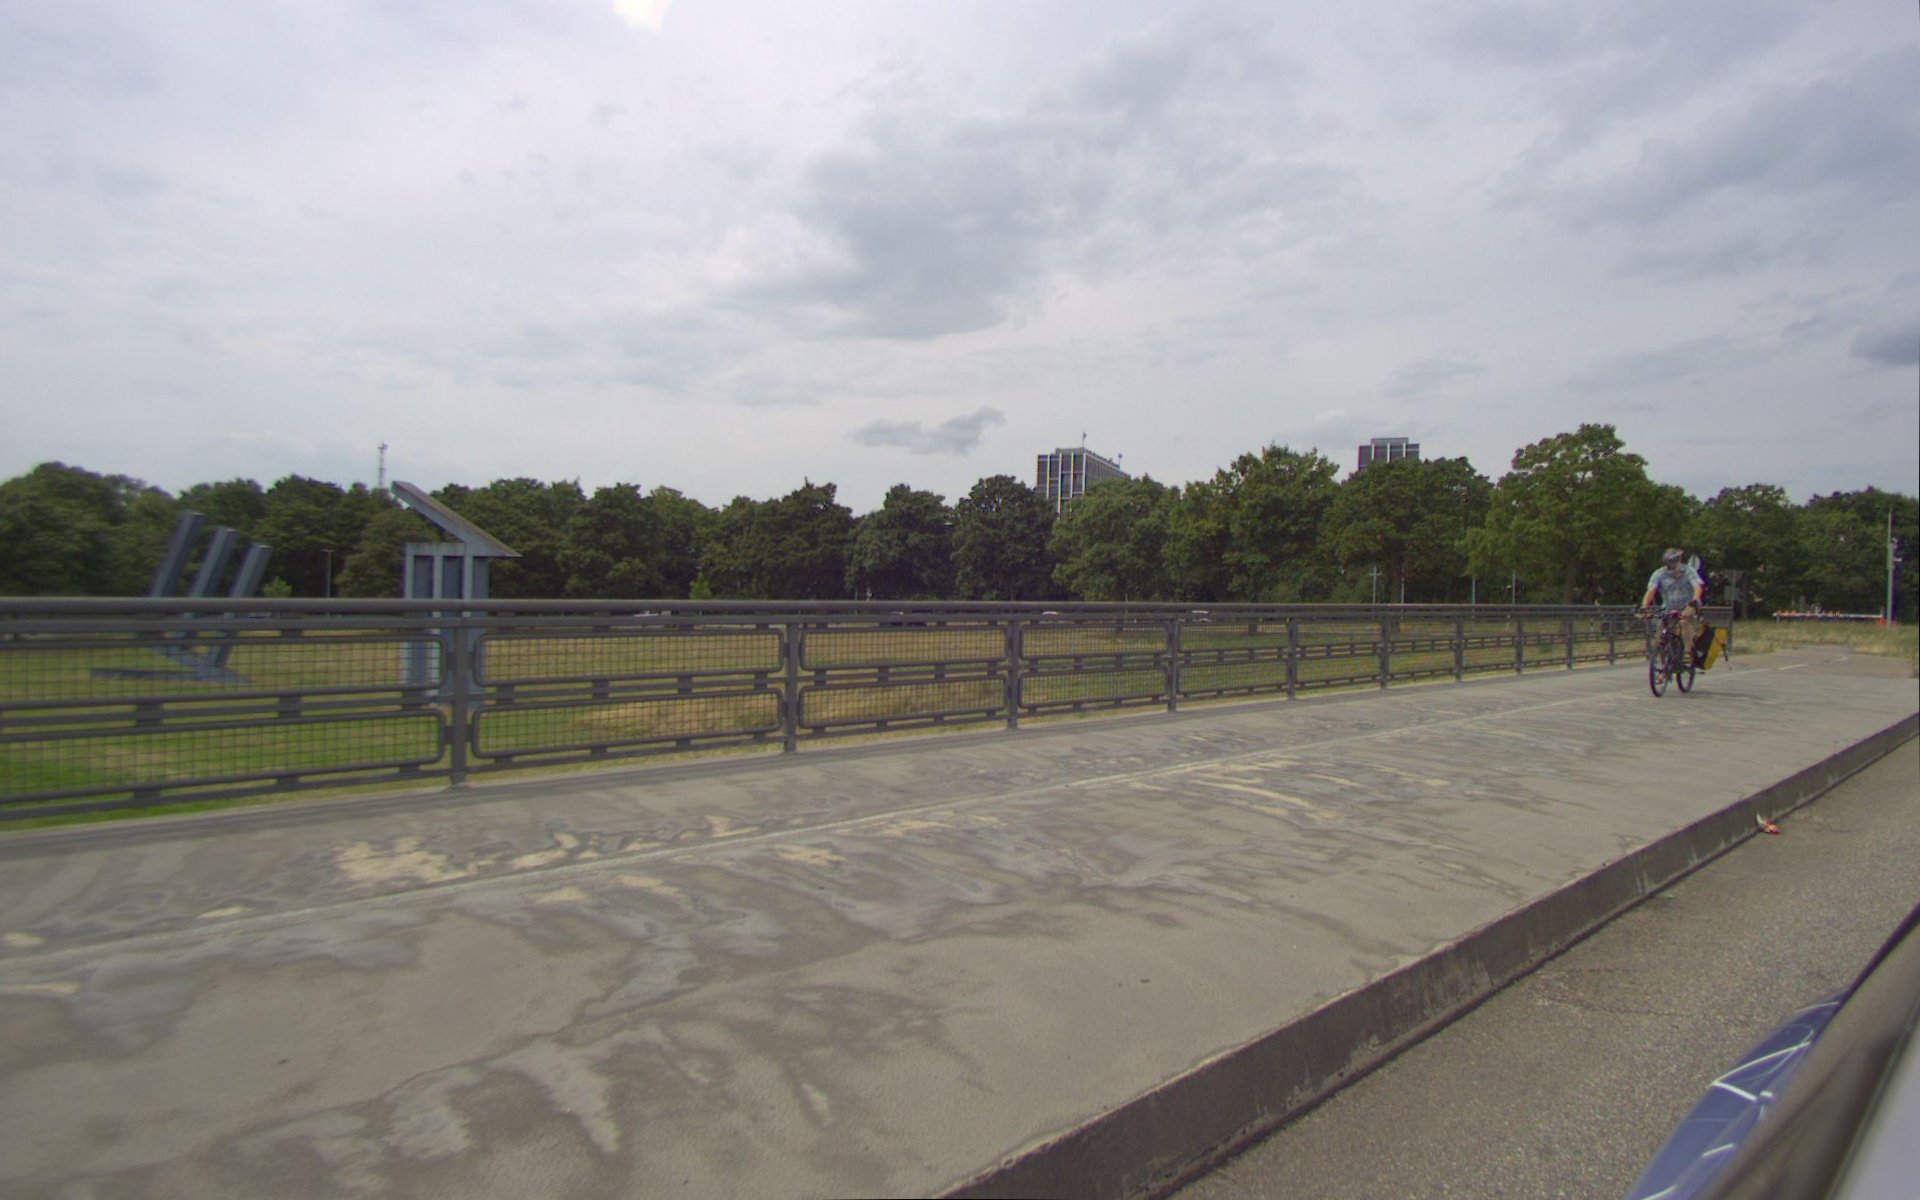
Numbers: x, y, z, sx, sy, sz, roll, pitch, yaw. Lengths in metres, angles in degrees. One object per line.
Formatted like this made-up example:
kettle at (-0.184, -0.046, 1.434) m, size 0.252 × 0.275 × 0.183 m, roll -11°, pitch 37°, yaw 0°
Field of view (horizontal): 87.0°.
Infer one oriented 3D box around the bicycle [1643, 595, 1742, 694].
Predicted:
bicycle at (9.525, 0.532, 13.140) m, size 0.812 × 1.154 × 1.737 m, roll 3°, pitch 3°, yaw 43°

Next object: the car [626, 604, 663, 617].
car at (-38.670, 1.244, 124.148) m, size 3.941 × 1.416 × 1.991 m, roll 1°, pitch 0°, yaw 14°

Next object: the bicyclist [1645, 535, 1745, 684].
bicyclist at (9.561, 0.106, 13.163) m, size 0.871 × 1.824 × 0.942 m, roll 4°, pitch 2°, yaw 43°

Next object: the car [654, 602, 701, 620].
car at (-32.018, 1.244, 114.719) m, size 4.827 × 1.825 × 1.993 m, roll 1°, pitch 0°, yaw 13°

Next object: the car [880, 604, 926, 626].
car at (-5.899, 1.538, 104.973) m, size 4.430 × 2.039 × 1.980 m, roll 1°, pitch 0°, yaw 28°

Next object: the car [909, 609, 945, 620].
car at (-3.714, 1.605, 112.858) m, size 3.646 × 1.145 × 1.664 m, roll 0°, pitch 0°, yaw 26°

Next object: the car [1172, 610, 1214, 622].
car at (22.160, 1.501, 96.298) m, size 3.646 × 1.145 × 1.664 m, roll 0°, pitch 0°, yaw 26°

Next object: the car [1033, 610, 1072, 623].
car at (9.608, 1.737, 105.230) m, size 3.646 × 1.288 × 1.664 m, roll 0°, pitch 0°, yaw 26°
